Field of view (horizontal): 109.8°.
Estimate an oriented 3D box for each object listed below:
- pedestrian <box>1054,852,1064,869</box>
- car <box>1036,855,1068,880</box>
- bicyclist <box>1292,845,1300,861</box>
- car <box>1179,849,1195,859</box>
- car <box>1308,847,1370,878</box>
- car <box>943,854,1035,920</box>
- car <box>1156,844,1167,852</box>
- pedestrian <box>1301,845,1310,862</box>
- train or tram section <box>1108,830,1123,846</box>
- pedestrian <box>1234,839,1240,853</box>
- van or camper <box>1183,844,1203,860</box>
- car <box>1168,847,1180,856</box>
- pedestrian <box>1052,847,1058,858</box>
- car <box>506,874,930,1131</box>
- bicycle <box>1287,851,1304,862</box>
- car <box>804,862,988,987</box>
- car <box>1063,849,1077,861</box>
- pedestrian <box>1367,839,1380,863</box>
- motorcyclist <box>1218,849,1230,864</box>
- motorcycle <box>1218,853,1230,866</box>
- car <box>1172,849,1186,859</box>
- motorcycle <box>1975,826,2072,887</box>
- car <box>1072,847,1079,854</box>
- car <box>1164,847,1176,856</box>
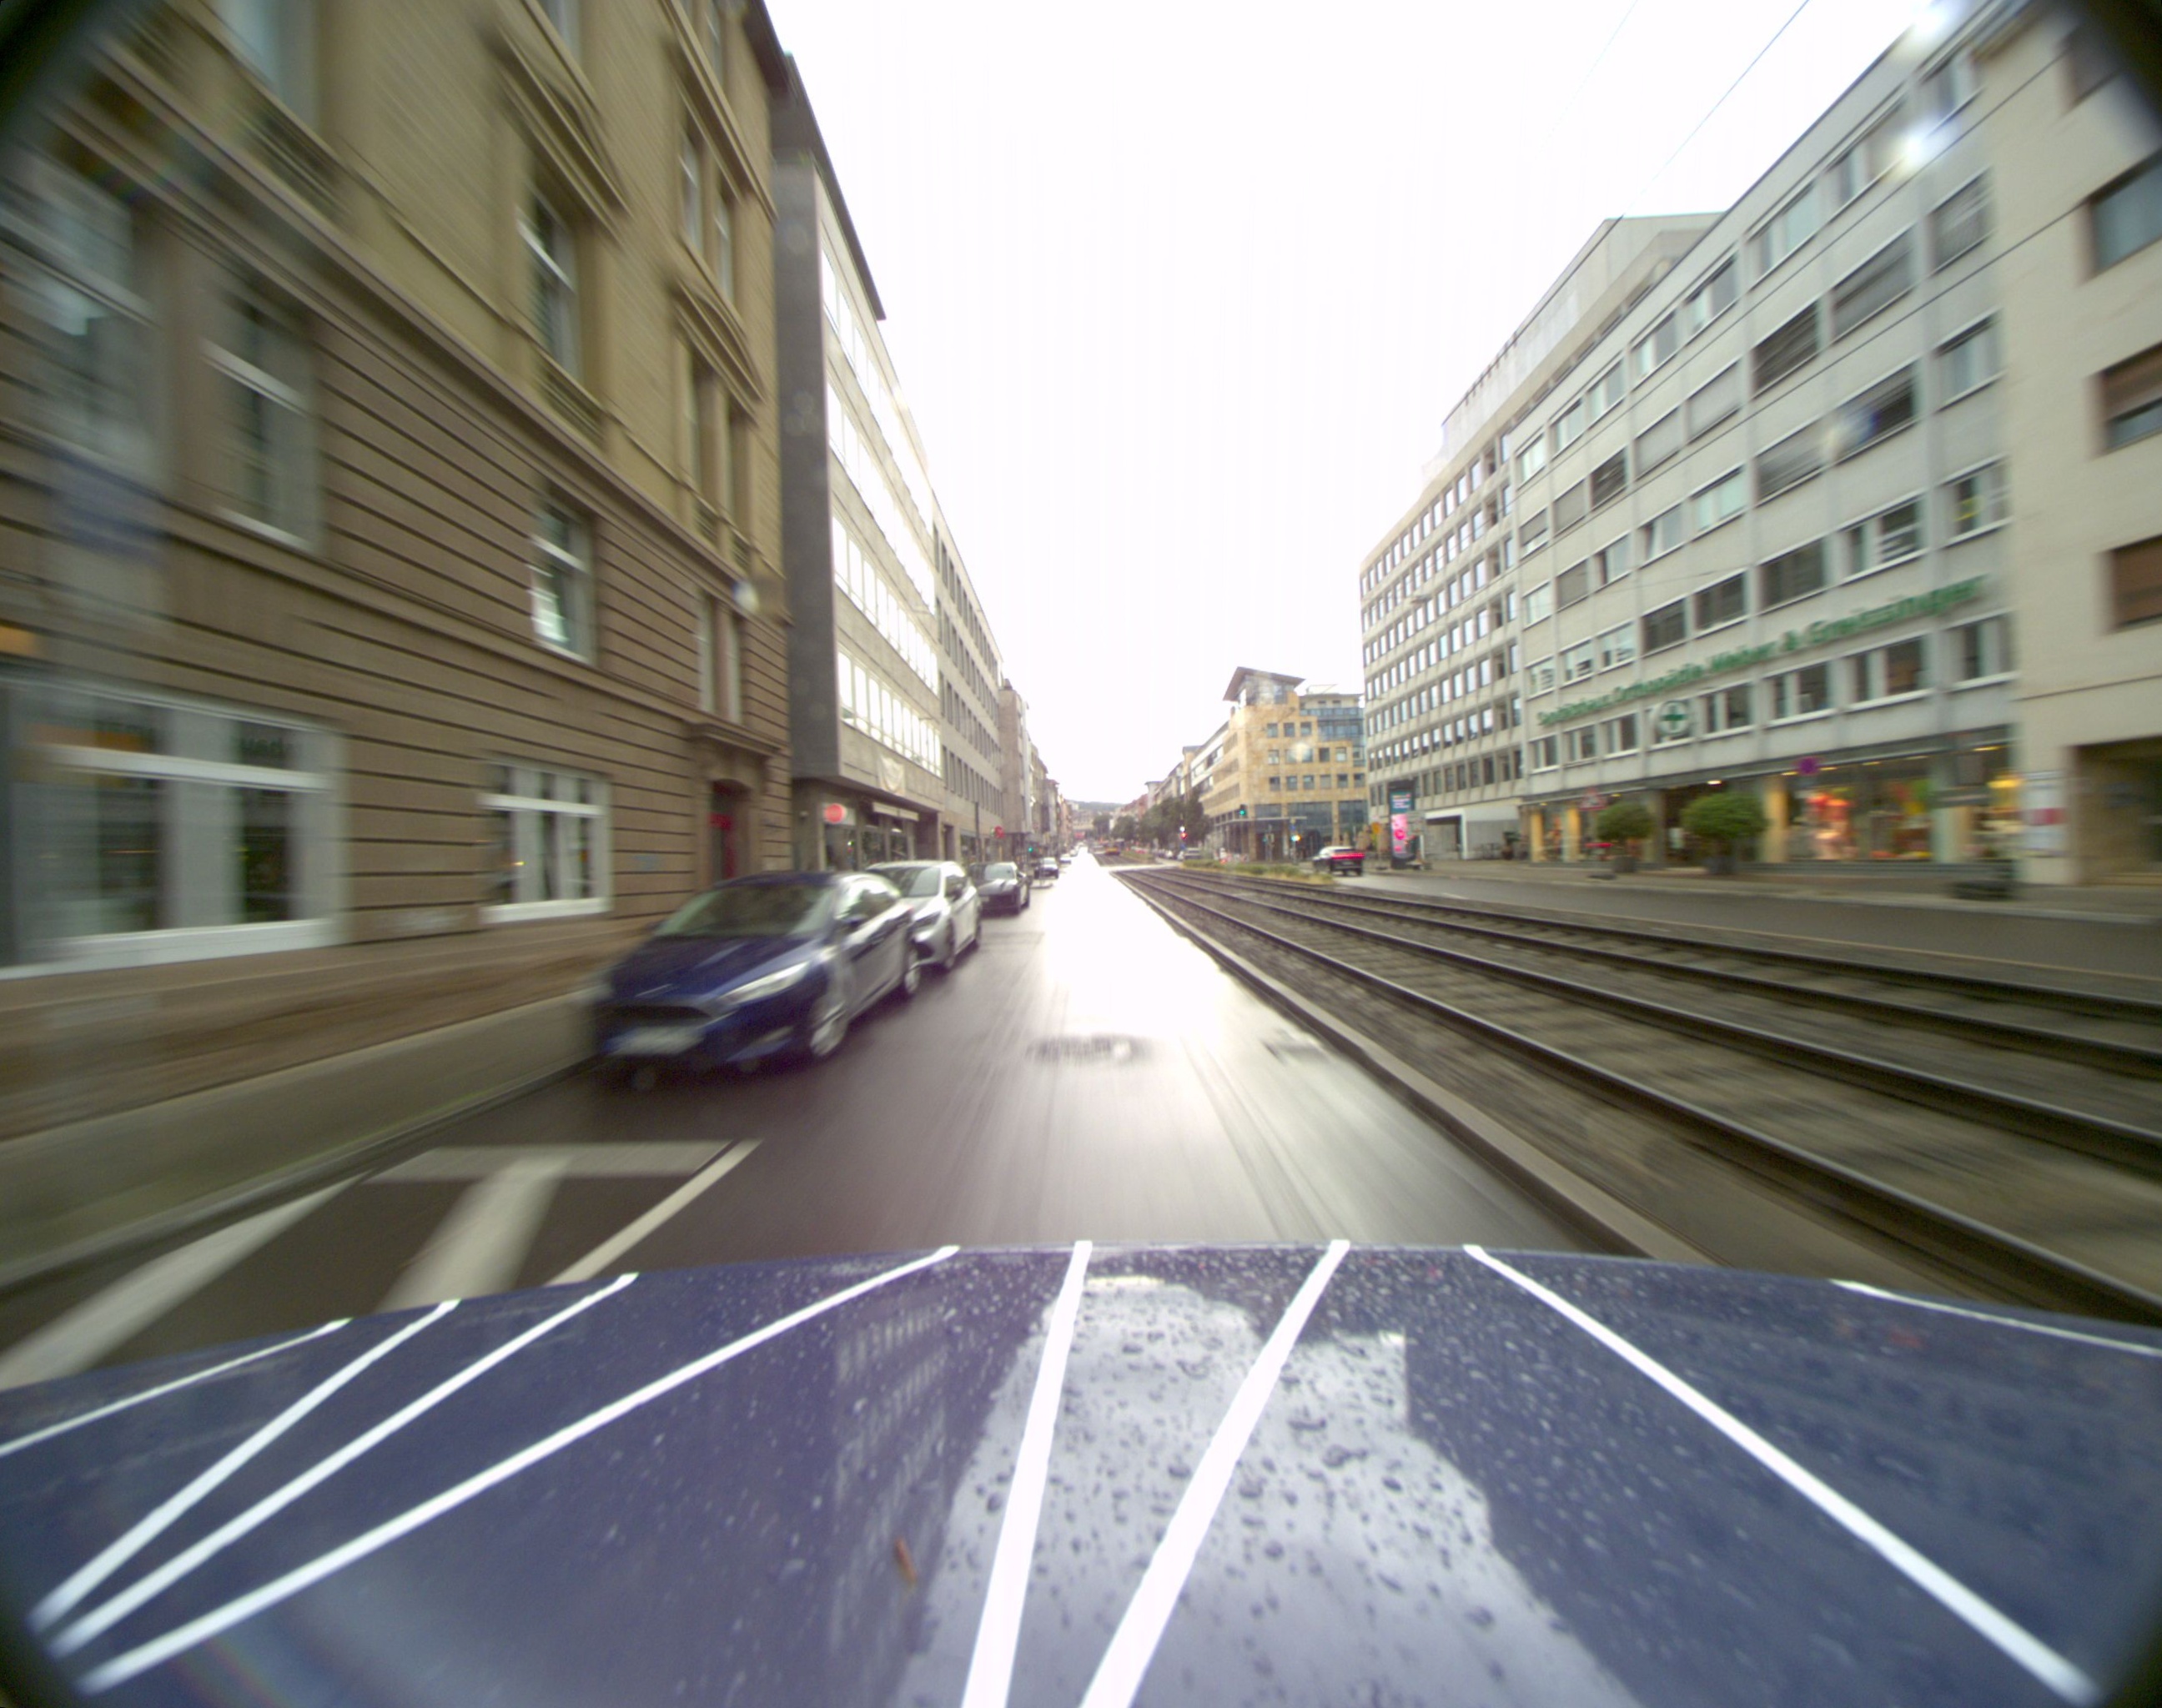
[{"bbox_3d":[-2.059,0.594,71.725,0.662,1.573,0.778,-2,1,-21],"label":"pedestrian"},{"bbox_3d":[-2.006,0.949,54.495,1.998,1.585,4.270,-2,1,1],"label":"car"},{"bbox_3d":[25.420,-0.100,89.860,0.710,1.794,0.784,-3,1,0],"label":"bicyclist"},{"bbox_3d":[16.082,-0.015,115.066,1.693,1.477,4.255,-3,0,-1],"label":"car"},{"bbox_3d":[13.797,0.416,40.872,1.998,1.510,4.445,-3,0,3],"label":"car"},{"bbox_3d":[-2.538,0.850,22.106,1.998,1.585,4.571,-2,1,1],"label":"car"},{"bbox_3d":[16.223,-1.245,153.611,1.653,1.532,4.621,-2,1,1],"label":"car"},{"bbox_3d":[24.280,-0.086,82.175,0.677,1.771,0.705,-2,1,35],"label":"pedestrian"},{"bbox_3d":[8.916,-4.230,198.801,2.909,4.027,18.762,-2,1,0],"label":"train or tram section"},{"bbox_3d":[20.421,-1.075,99.460,0.703,1.804,0.679,-3,1,3],"label":"pedestrian"},{"bbox_3d":[15.762,-0.288,107.343,2.022,1.986,5.196,-3,2,1],"label":"van or camper"},{"bbox_3d":[15.888,-0.451,130.303,1.653,1.489,4.192,-2,1,1],"label":"car"},{"bbox_3d":[-4.039,-0.270,117.458,0.793,1.650,0.721,-3,1,0],"label":"pedestrian"},{"bbox_3d":[-2.773,1.021,7.033,1.724,1.507,4.259,-2,0,2],"label":"car"},{"bbox_3d":[25.390,0.288,89.844,1.768,1.303,0.660,-3,1,0],"label":"bicycle"},{"bbox_3d":[-2.630,0.926,11.900,1.750,1.514,4.355,-2,0,0],"label":"car"},{"bbox_3d":[-1.712,0.151,115.328,2.029,1.585,4.619,-2,1,0],"label":"car"},{"bbox_3d":[23.317,-0.231,60.634,0.566,1.812,0.844,-3,1,-4],"label":"pedestrian"},{"bbox_3d":[11.945,0.197,63.524,0.743,1.210,0.970,-3,1,2],"label":"motorcyclist"},{"bbox_3d":[11.960,0.457,63.600,0.744,1.053,1.931,-3,1,2],"label":"motorcycle"},{"bbox_3d":[16.084,0.017,125.405,1.693,1.477,3.999,-3,0,-1],"label":"car"},{"bbox_3d":[19.250,0.054,15.528,1.480,1.173,0.386,-3,1,-1],"label":"motorcycle"},{"bbox_3d":[-1.328,-0.885,183.989,1.653,1.489,4.067,-2,1,1],"label":"car"},{"bbox_3d":[15.906,-0.426,135.642,1.653,1.489,4.292,-2,1,1],"label":"car"}]
